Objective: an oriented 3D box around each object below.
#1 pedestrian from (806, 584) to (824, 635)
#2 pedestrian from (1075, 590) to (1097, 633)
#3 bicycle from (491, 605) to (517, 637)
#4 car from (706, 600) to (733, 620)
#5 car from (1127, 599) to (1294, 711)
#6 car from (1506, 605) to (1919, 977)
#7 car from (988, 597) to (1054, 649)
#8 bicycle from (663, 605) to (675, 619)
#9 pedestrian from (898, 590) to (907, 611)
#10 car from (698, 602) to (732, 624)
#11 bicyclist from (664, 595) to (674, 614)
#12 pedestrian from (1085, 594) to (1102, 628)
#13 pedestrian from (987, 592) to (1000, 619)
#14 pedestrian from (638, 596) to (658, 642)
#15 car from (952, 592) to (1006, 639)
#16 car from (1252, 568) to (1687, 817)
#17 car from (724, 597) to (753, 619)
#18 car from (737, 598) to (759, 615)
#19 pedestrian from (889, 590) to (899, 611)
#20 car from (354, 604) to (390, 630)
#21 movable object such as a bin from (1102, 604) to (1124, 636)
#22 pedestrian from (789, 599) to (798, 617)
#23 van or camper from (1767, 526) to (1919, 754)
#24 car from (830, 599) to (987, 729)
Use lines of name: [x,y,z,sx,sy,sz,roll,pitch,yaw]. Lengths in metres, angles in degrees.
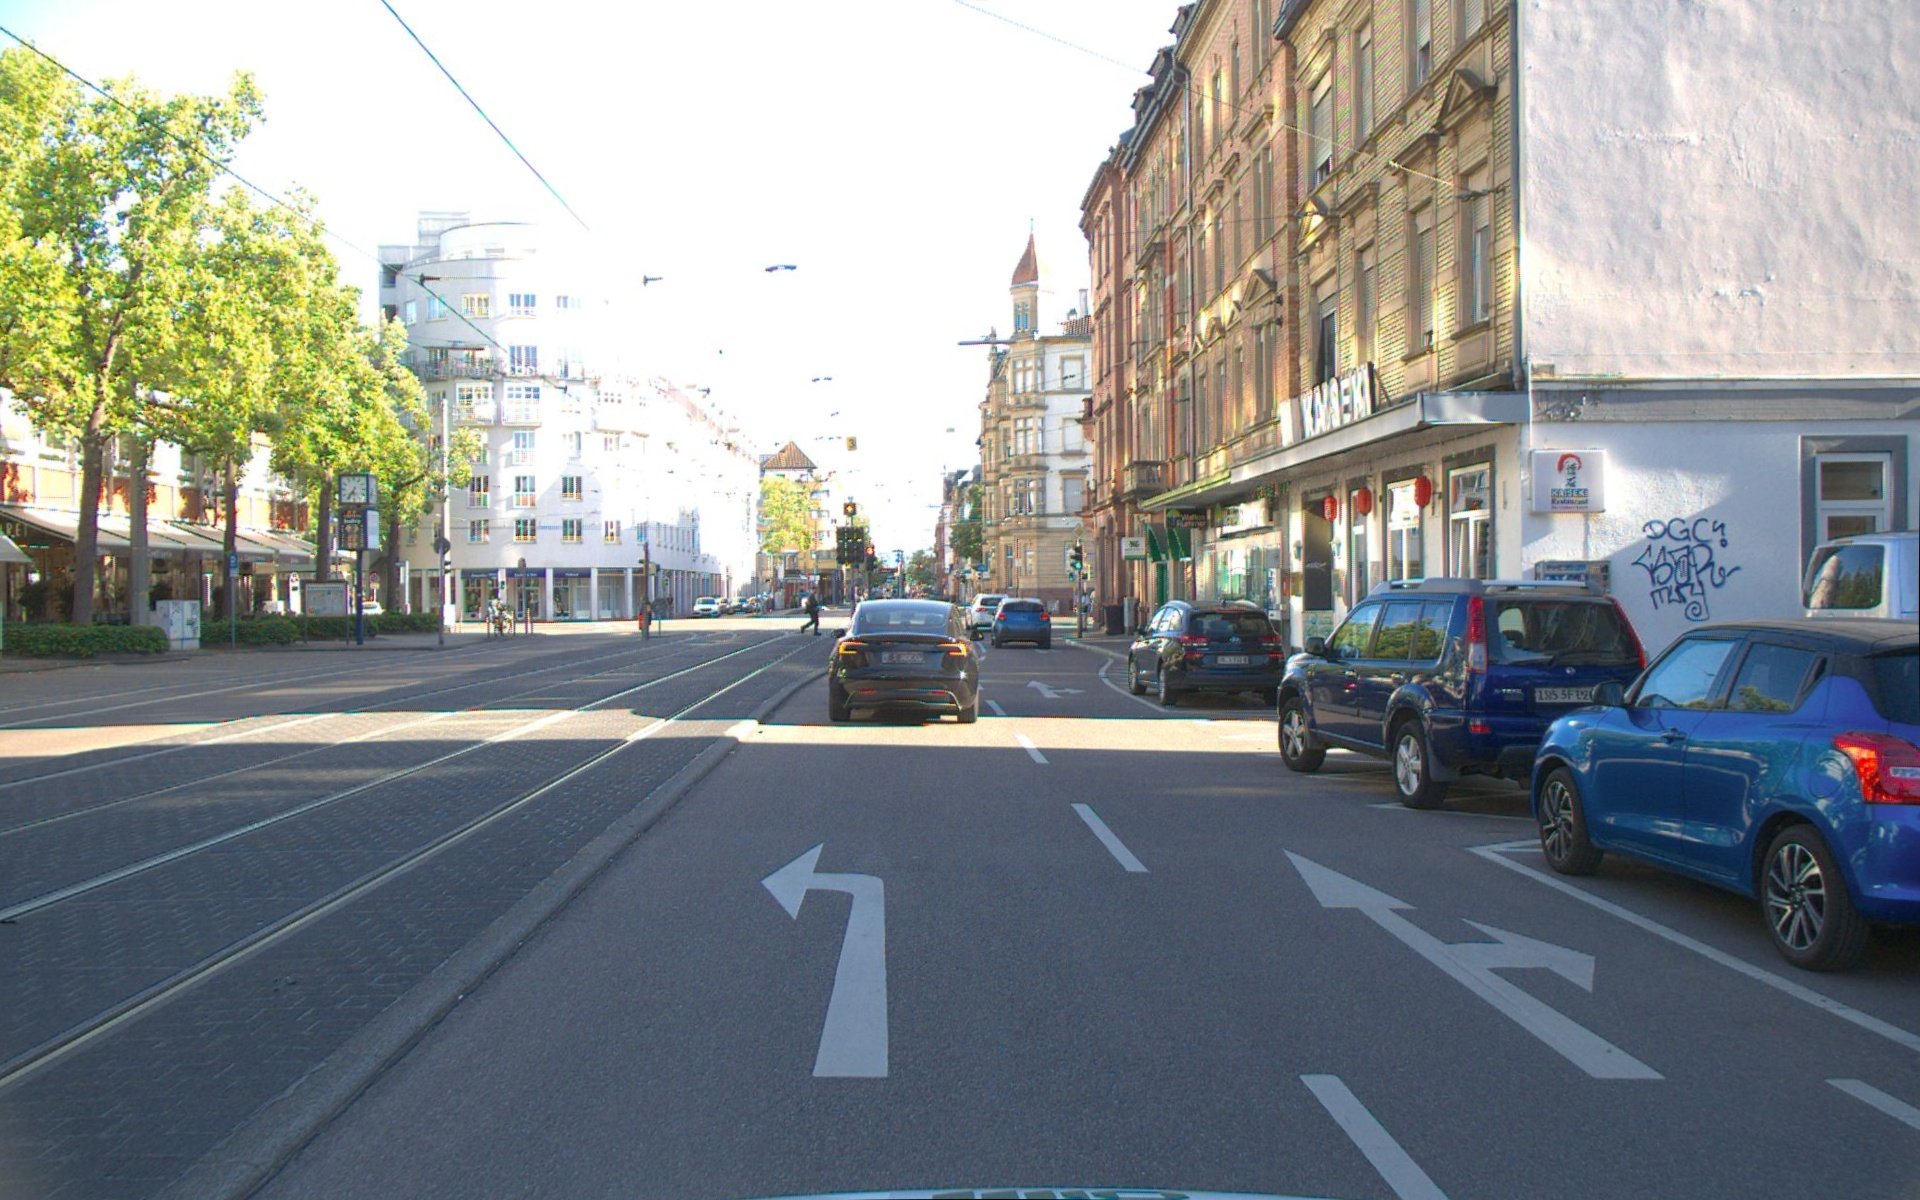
pedestrian: [-5.282,0.343,60.271,0.546,1.794,0.895,-2,0,-2]
pedestrian: [4.860,0.427,63.747,0.669,1.635,0.729,-1,0,-11]
bicycle: [-17.766,0.819,64.497,0.487,1.207,2.234,-1,0,-3]
car: [-20.174,0.844,139.008,1.954,1.624,3.996,-1,-1,-4]
car: [3.633,0.742,24.685,1.656,1.476,4.358,1,0,-2]
car: [4.350,0.785,8.548,1.679,1.480,3.776,1,0,-2]
car: [1.813,0.662,49.905,1.745,1.476,3.653,1,0,-2]
bicycle: [-20.323,0.831,115.619,0.582,0.989,1.817,-1,-1,-1]
pedestrian: [-4.820,0.066,139.000,0.623,1.727,0.934,1,-1,5]
car: [-17.354,0.897,117.263,1.954,1.477,4.499,-1,0,-3]
bicyclist: [-20.324,0.322,115.544,0.576,1.308,0.926,-1,-1,-1]
pedestrian: [6.682,0.547,82.580,0.686,1.684,0.632,-1,-1,20]
pedestrian: [2.230,0.345,110.233,0.764,1.780,1.092,0,2,-4]
pedestrian: [-10.863,0.661,57.551,0.490,1.544,0.858,-2,0,-2]
car: [0.729,0.625,66.211,1.953,1.773,3.998,1,-1,-2]
car: [4.034,0.665,13.997,1.659,1.743,4.606,1,0,-9]
car: [-19.949,0.739,149.031,2.182,1.944,4.606,0,0,-3]
car: [-19.892,0.596,155.136,1.694,1.541,4.402,0,0,-3]
pedestrian: [-5.736,0.065,144.055,0.704,1.808,0.563,-1,0,34]
car: [-36.076,1.022,101.511,1.768,1.427,4.086,0,2,-15]
movable object such as a bin: [5.439,0.713,58.766,0.649,1.091,0.591,-3,0,0]
pedestrian: [-14.704,0.723,146.279,0.717,1.554,0.742,0,1,-3]
van or camper: [10.323,0.224,15.361,4.595,1.966,2.001,-3,0,2]
car: [-0.670,0.738,21.097,1.774,1.449,4.152,1,0,-2]
